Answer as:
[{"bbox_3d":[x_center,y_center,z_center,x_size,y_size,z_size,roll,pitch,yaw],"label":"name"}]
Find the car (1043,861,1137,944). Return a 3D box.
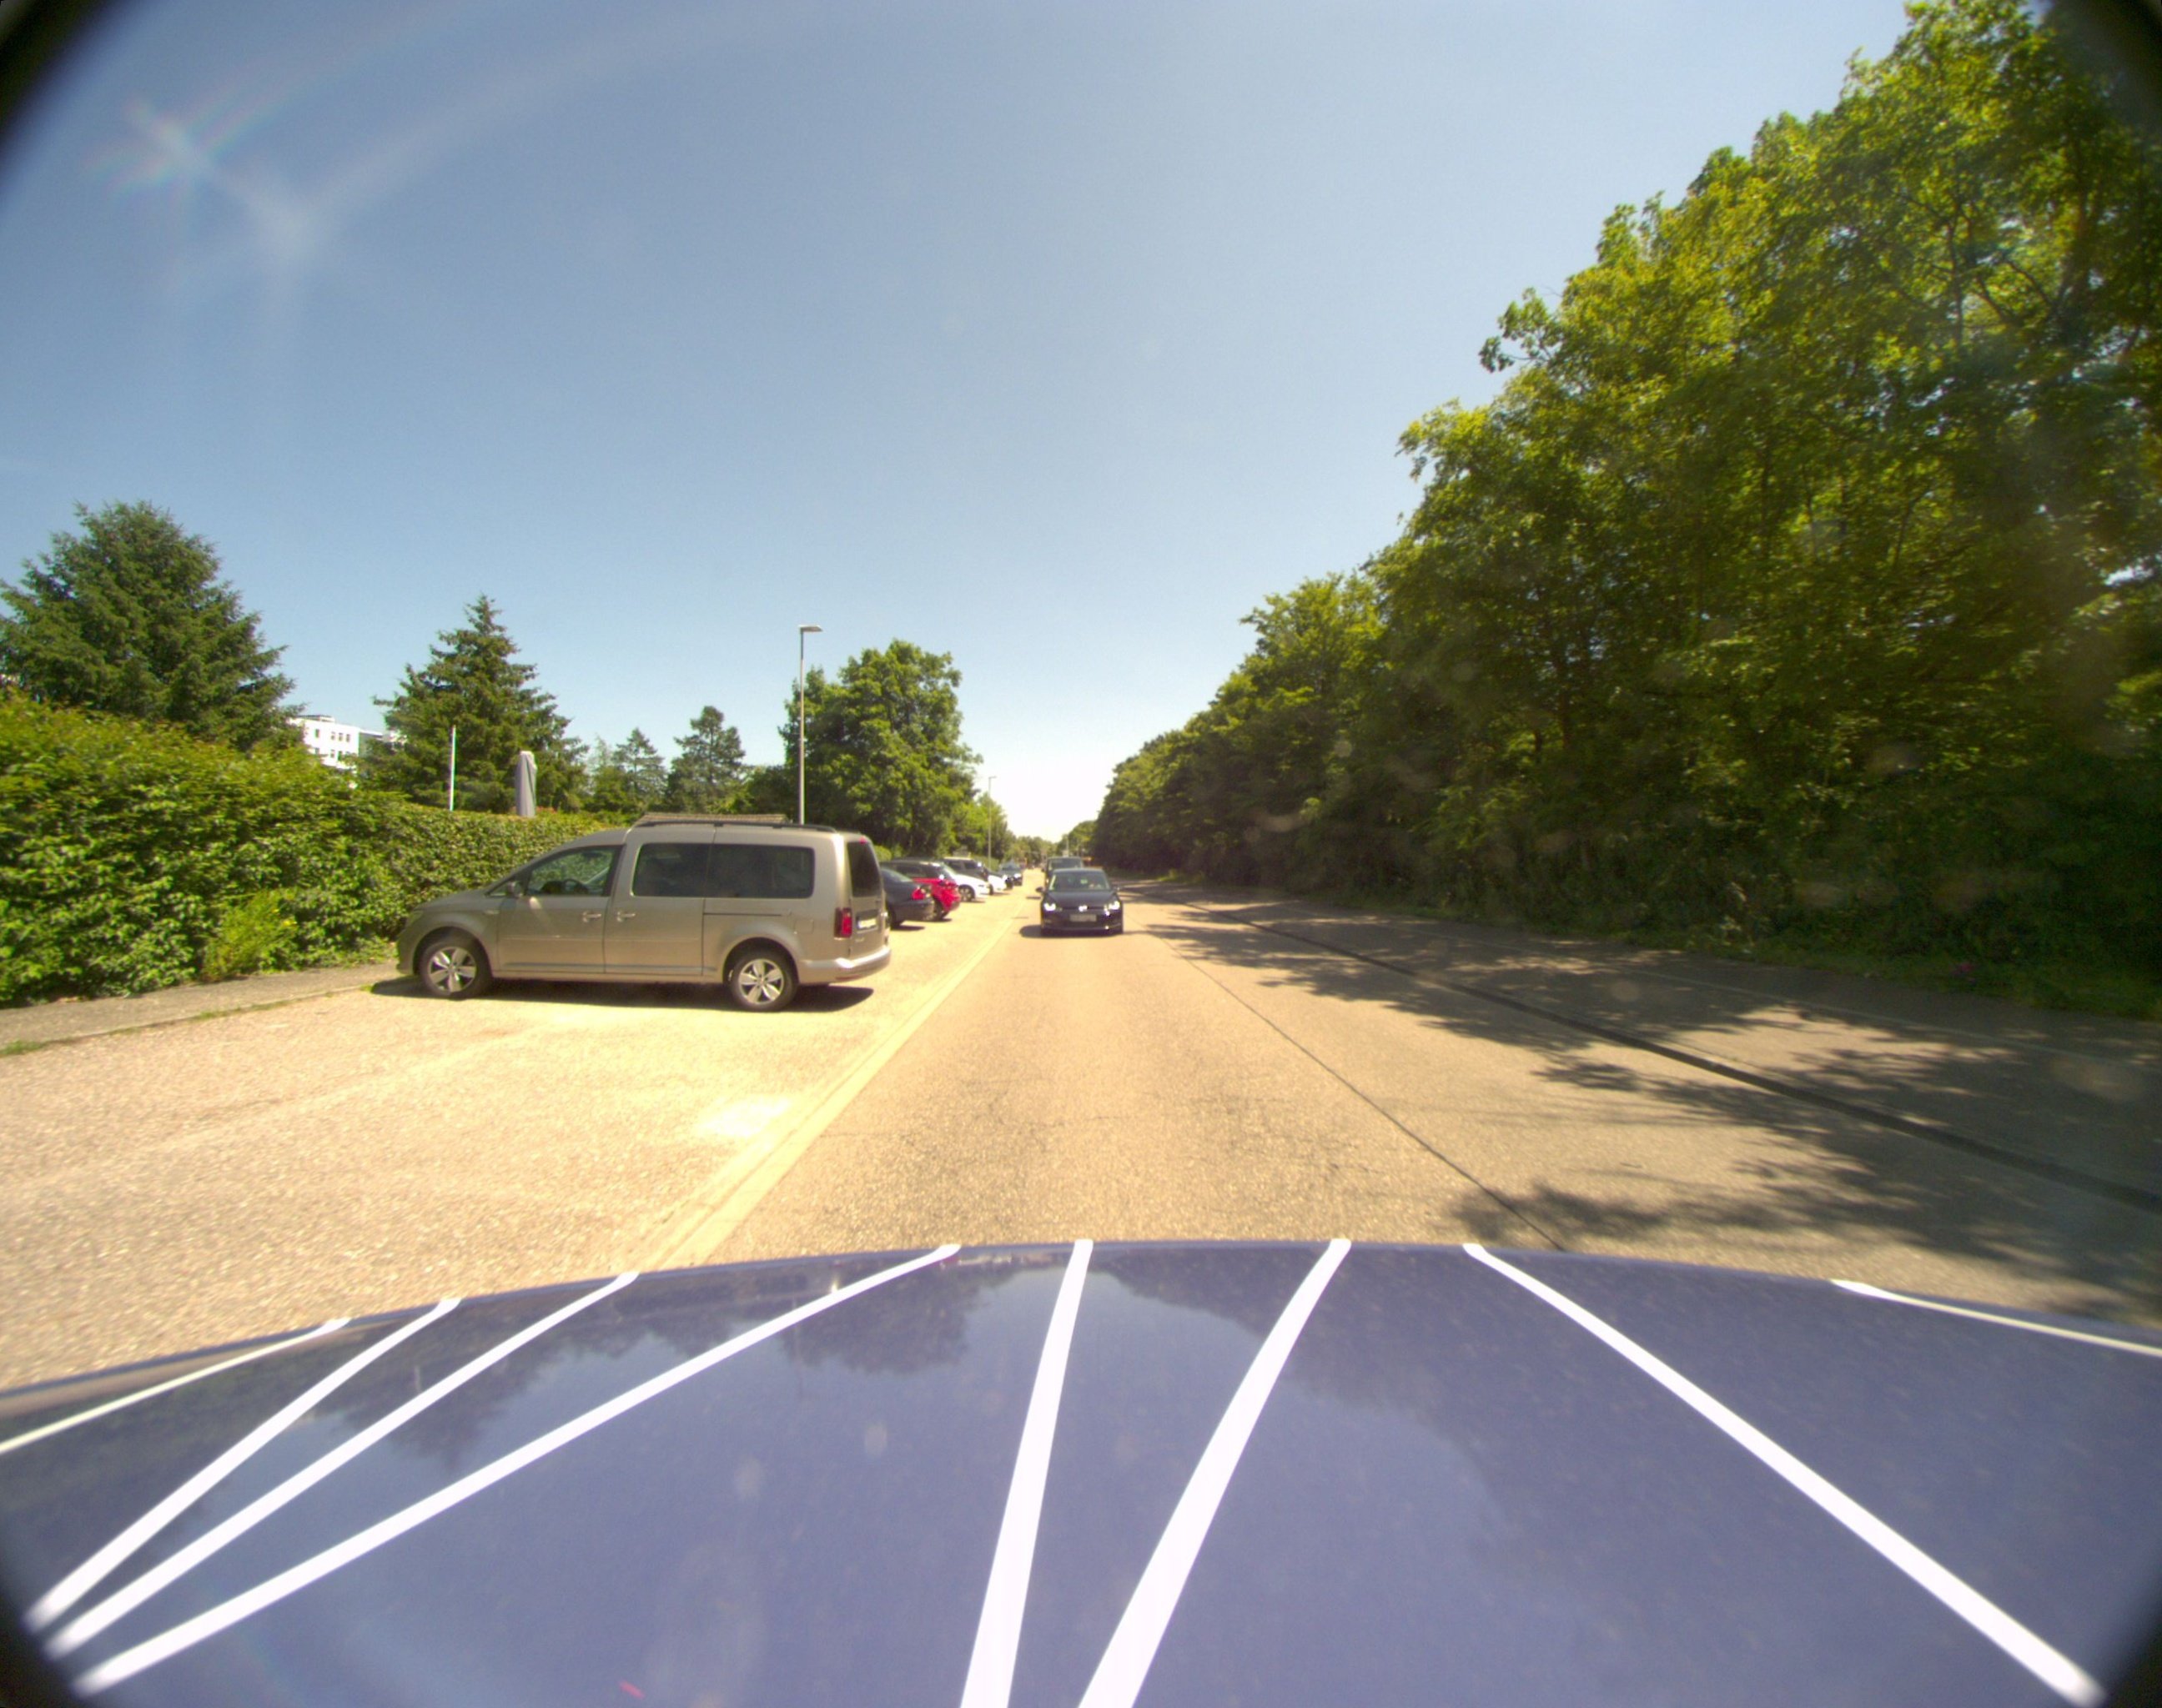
[{"bbox_3d":[0.085,1.052,17.764,1.887,1.667,4.662,0,-2,-3],"label":"car"}]

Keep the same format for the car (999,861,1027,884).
[{"bbox_3d":[-4.807,1.299,54.073,1.794,1.473,4.663,4,-1,-4],"label":"car"}]

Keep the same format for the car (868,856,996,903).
[{"bbox_3d":[-5.641,0.954,29.253,4.572,1.430,1.960,4,-1,-5],"label":"car"}]

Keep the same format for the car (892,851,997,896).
[{"bbox_3d":[-6.072,0.878,34.160,4.269,1.688,1.853,4,-1,-1],"label":"car"}]

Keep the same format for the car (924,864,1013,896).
[{"bbox_3d":[-5.366,1.225,36.601,4.008,1.444,1.831,1,0,-2],"label":"car"}]

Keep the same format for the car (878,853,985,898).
[{"bbox_3d":[-6.132,0.897,31.548,4.061,1.539,1.757,4,-1,-4],"label":"car"}]

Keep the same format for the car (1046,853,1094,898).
[{"bbox_3d":[-0.586,0.971,35.406,2.002,1.965,4.449,0,-1,-4],"label":"car"}]

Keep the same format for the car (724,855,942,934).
[{"bbox_3d":[-5.401,0.871,16.994,4.215,1.380,1.840,4,-1,-3],"label":"car"}]

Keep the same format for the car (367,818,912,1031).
[{"bbox_3d":[-4.401,0.689,8.208,4.633,1.837,1.996,2,-1,-1],"label":"car"}]

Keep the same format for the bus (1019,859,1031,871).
[{"bbox_3d":[-15.409,2.945,209.342,2.932,3.247,8.329,0,-1,-2],"label":"bus"}]

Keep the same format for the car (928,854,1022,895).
[{"bbox_3d":[-5.414,1.031,39.190,4.482,1.694,1.913,5,-1,-2],"label":"car"}]

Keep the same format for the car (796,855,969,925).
[{"bbox_3d":[-5.047,0.906,19.776,3.929,1.470,1.845,4,-1,-1],"label":"car"}]

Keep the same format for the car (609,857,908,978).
[{"bbox_3d":[-4.546,0.885,11.209,3.586,1.493,1.841,3,-1,-5],"label":"car"}]
